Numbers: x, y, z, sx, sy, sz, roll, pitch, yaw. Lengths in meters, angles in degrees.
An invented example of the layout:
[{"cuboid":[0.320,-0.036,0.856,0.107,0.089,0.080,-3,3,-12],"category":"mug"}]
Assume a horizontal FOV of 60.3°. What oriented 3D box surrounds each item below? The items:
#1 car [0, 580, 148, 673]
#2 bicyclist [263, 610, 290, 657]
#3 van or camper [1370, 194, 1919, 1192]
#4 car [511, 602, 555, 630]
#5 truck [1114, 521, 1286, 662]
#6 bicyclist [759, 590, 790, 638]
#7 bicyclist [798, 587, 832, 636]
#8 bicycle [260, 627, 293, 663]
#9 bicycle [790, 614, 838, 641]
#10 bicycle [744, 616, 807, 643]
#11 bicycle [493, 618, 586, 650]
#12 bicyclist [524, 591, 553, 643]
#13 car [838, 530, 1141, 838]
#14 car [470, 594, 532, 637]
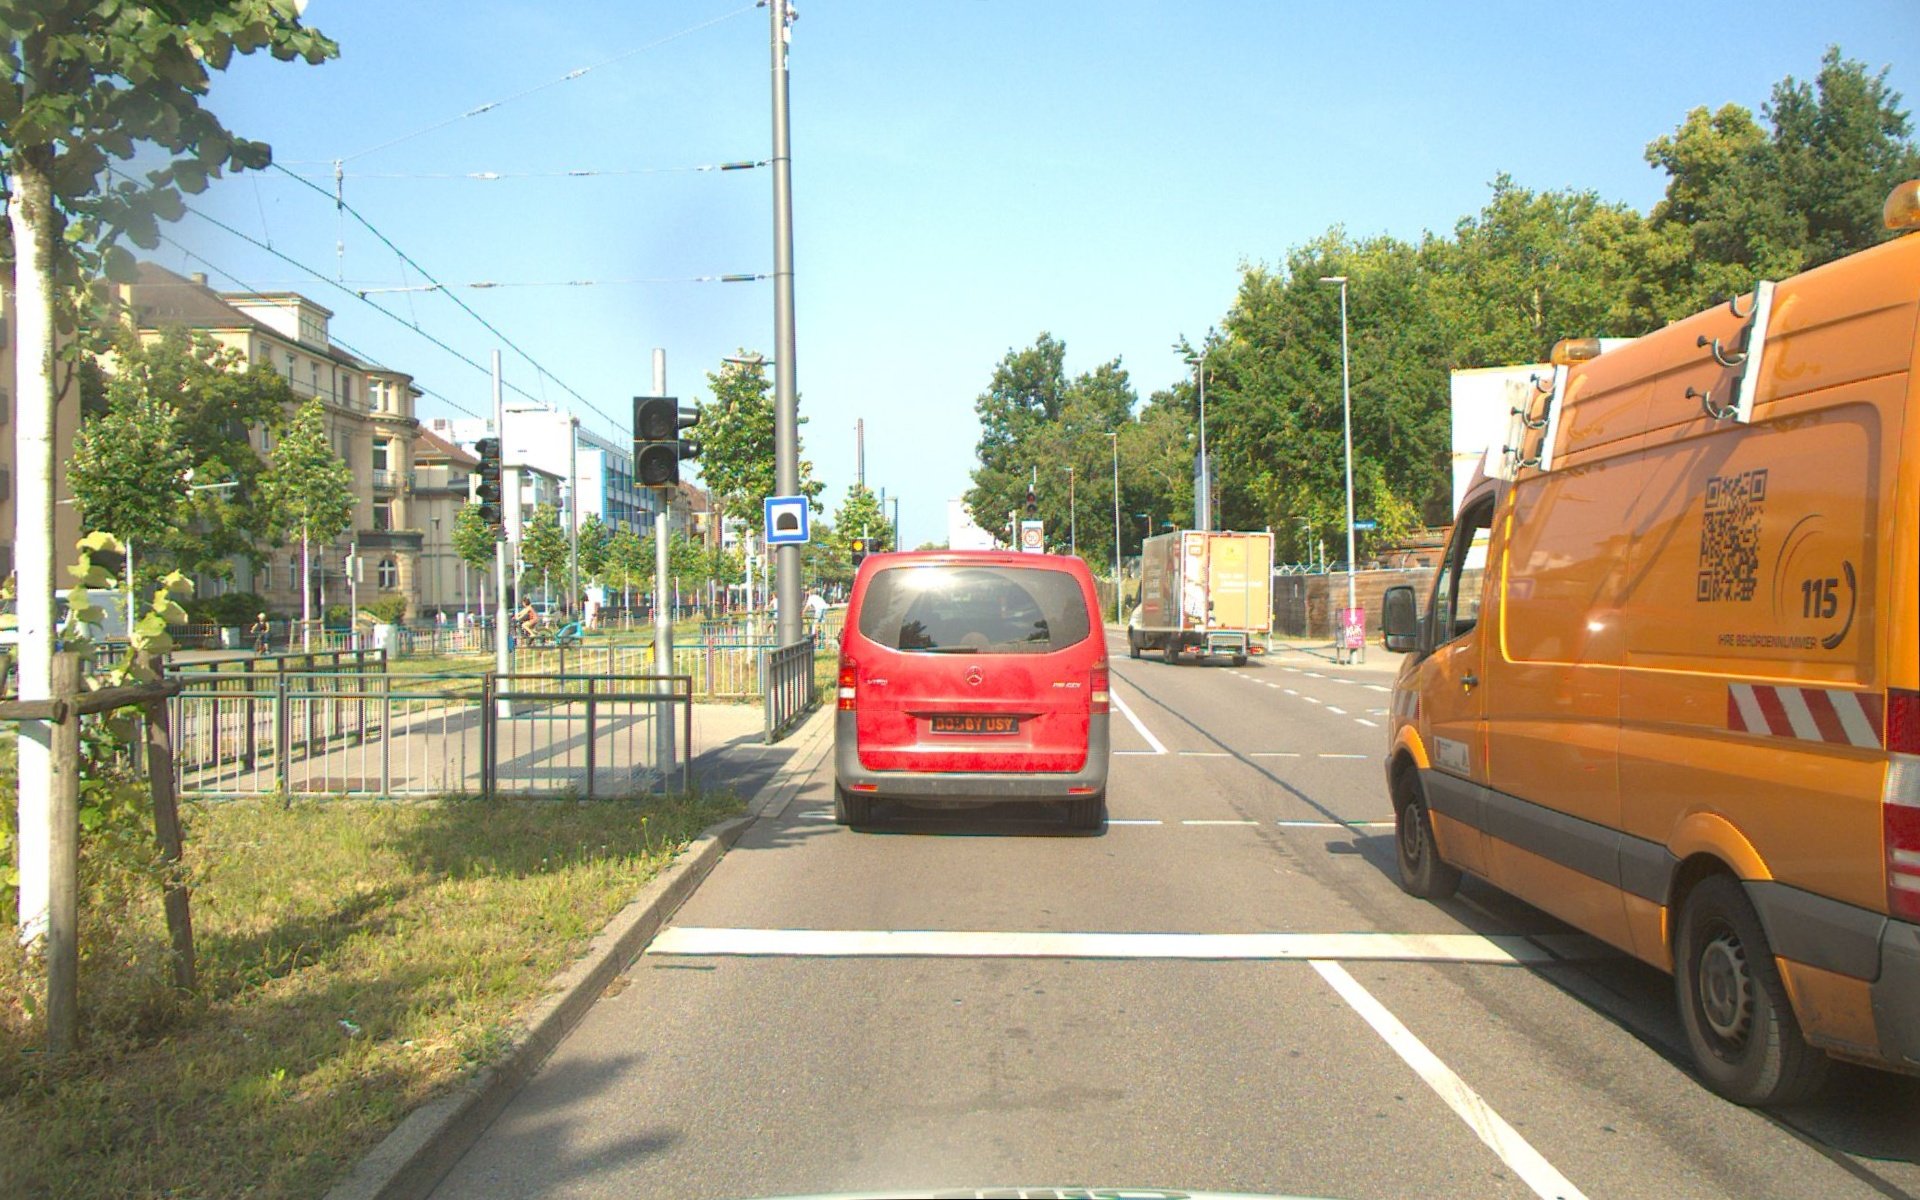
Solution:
[{"cuboid":[-23.751,0.658,43.741,2.004,2.278,5.333,-1,0,-2],"category":"car"},{"cuboid":[-26.920,1.318,65.145,0.656,1.837,1.082,-1,0,-5],"category":"bicyclist"},{"cuboid":[3.386,0.223,6.615,1.945,2.515,6.061,1,0,0],"category":"van or camper"},{"cuboid":[-33.132,1.275,128.359,2.204,2.049,5.259,1,-2,-3],"category":"car"},{"cuboid":[5.730,-0.158,40.884,2.453,3.114,7.811,1,-1,-5],"category":"truck"},{"cuboid":[-5.923,0.441,52.824,0.964,1.526,0.619,-1,0,-7],"category":"bicyclist"},{"cuboid":[-4.407,0.356,50.265,0.672,1.466,0.805,0,-1,27],"category":"bicyclist"},{"cuboid":[-26.914,1.762,65.161,0.681,1.369,1.756,-1,0,-5],"category":"bicycle"},{"cuboid":[-4.416,0.836,50.256,0.704,0.812,1.602,1,-1,27],"category":"bicycle"},{"cuboid":[-5.891,0.940,52.828,1.958,0.807,0.628,-1,0,-7],"category":"bicycle"},{"cuboid":[-13.758,1.106,54.161,2.939,0.982,0.896,-1,0,-16],"category":"bicycle"},{"cuboid":[-13.799,0.549,54.152,0.875,1.657,0.888,-1,0,-16],"category":"bicyclist"},{"cuboid":[0.156,0.522,12.274,1.862,1.892,3.999,1,0,-1],"category":"car"},{"cuboid":[-23.108,0.779,83.425,1.953,2.049,3.999,-3,-1,0],"category":"car"}]
